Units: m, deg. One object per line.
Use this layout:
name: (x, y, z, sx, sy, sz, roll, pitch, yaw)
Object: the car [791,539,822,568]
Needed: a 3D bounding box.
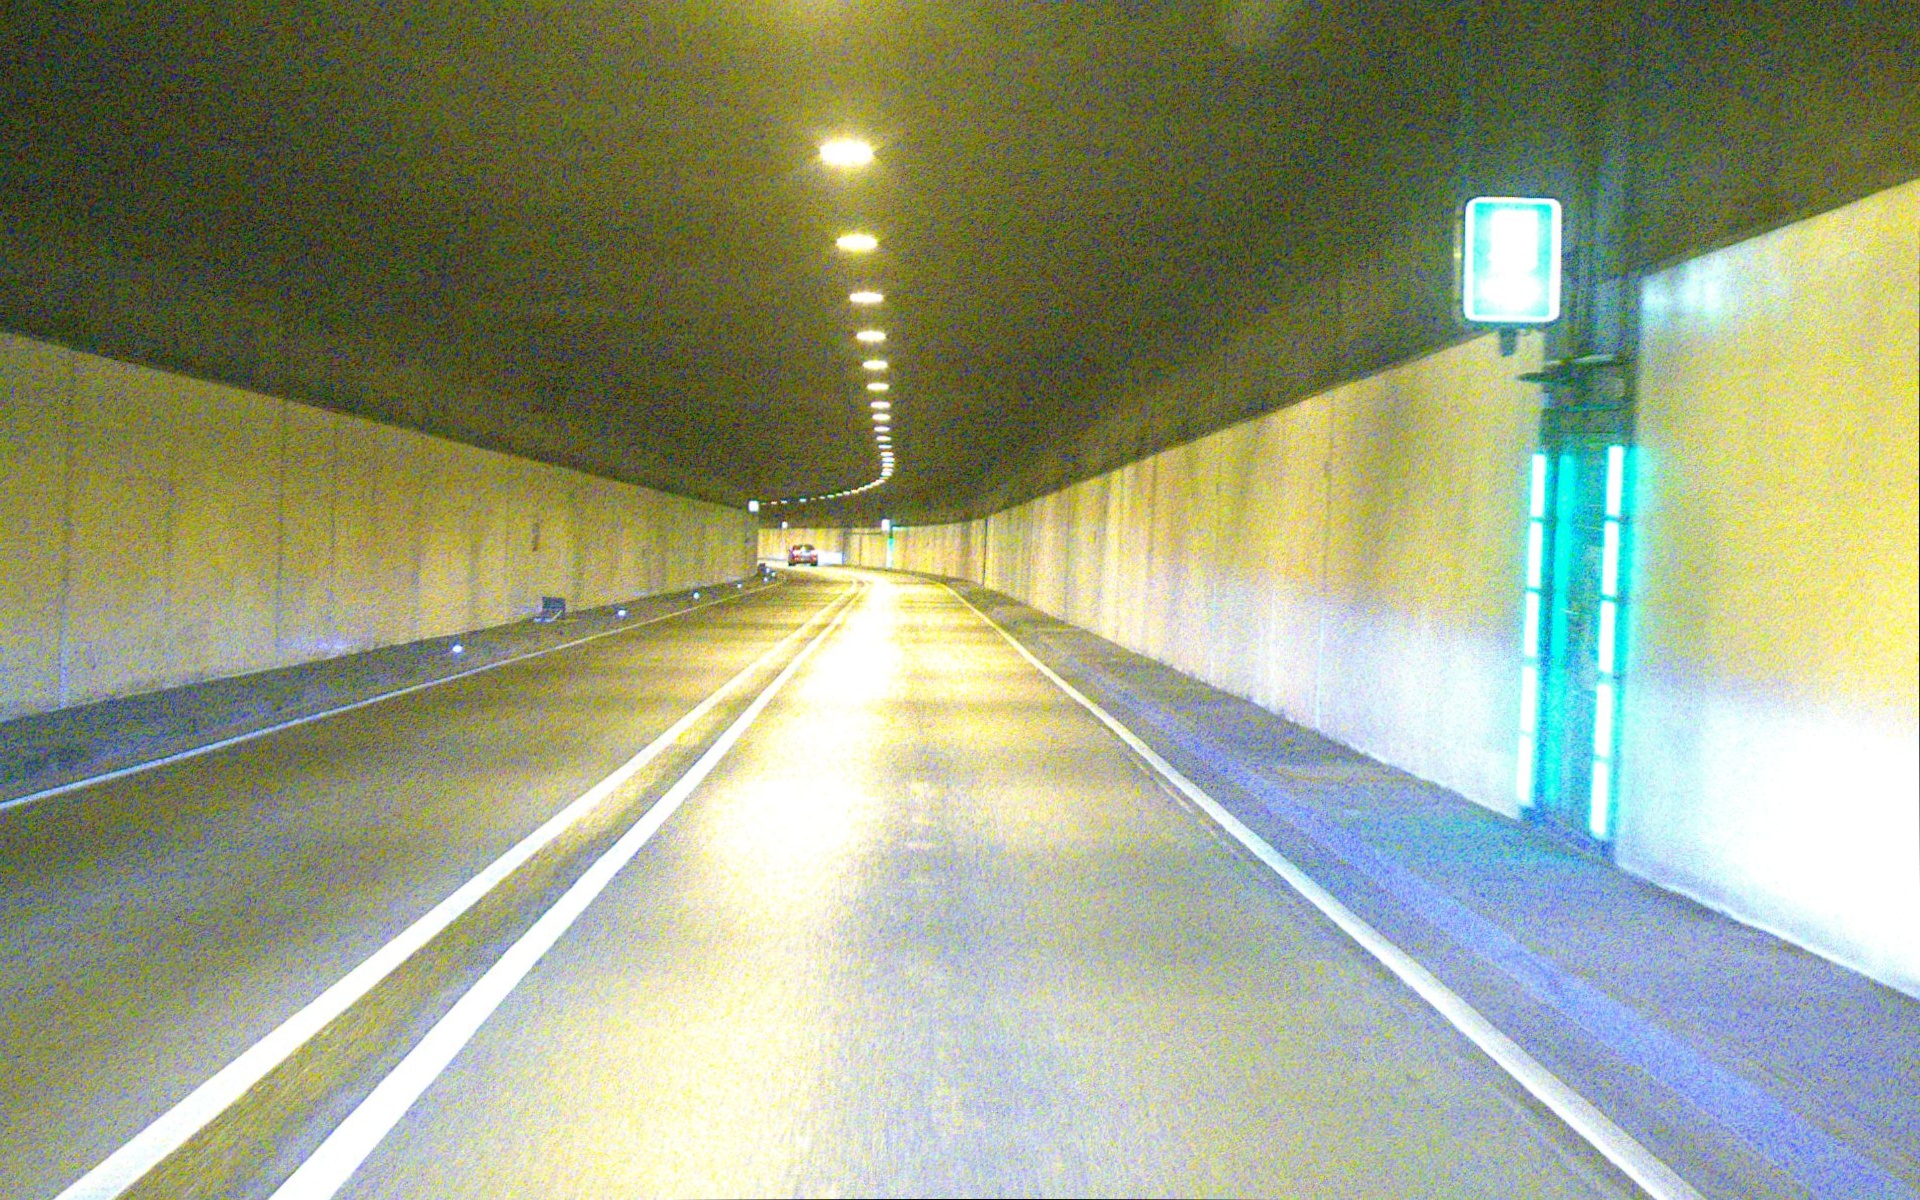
car: (-10.973, -3.317, 245.781, 1.966, 1.932, 4.613, 2, 0, -5)
